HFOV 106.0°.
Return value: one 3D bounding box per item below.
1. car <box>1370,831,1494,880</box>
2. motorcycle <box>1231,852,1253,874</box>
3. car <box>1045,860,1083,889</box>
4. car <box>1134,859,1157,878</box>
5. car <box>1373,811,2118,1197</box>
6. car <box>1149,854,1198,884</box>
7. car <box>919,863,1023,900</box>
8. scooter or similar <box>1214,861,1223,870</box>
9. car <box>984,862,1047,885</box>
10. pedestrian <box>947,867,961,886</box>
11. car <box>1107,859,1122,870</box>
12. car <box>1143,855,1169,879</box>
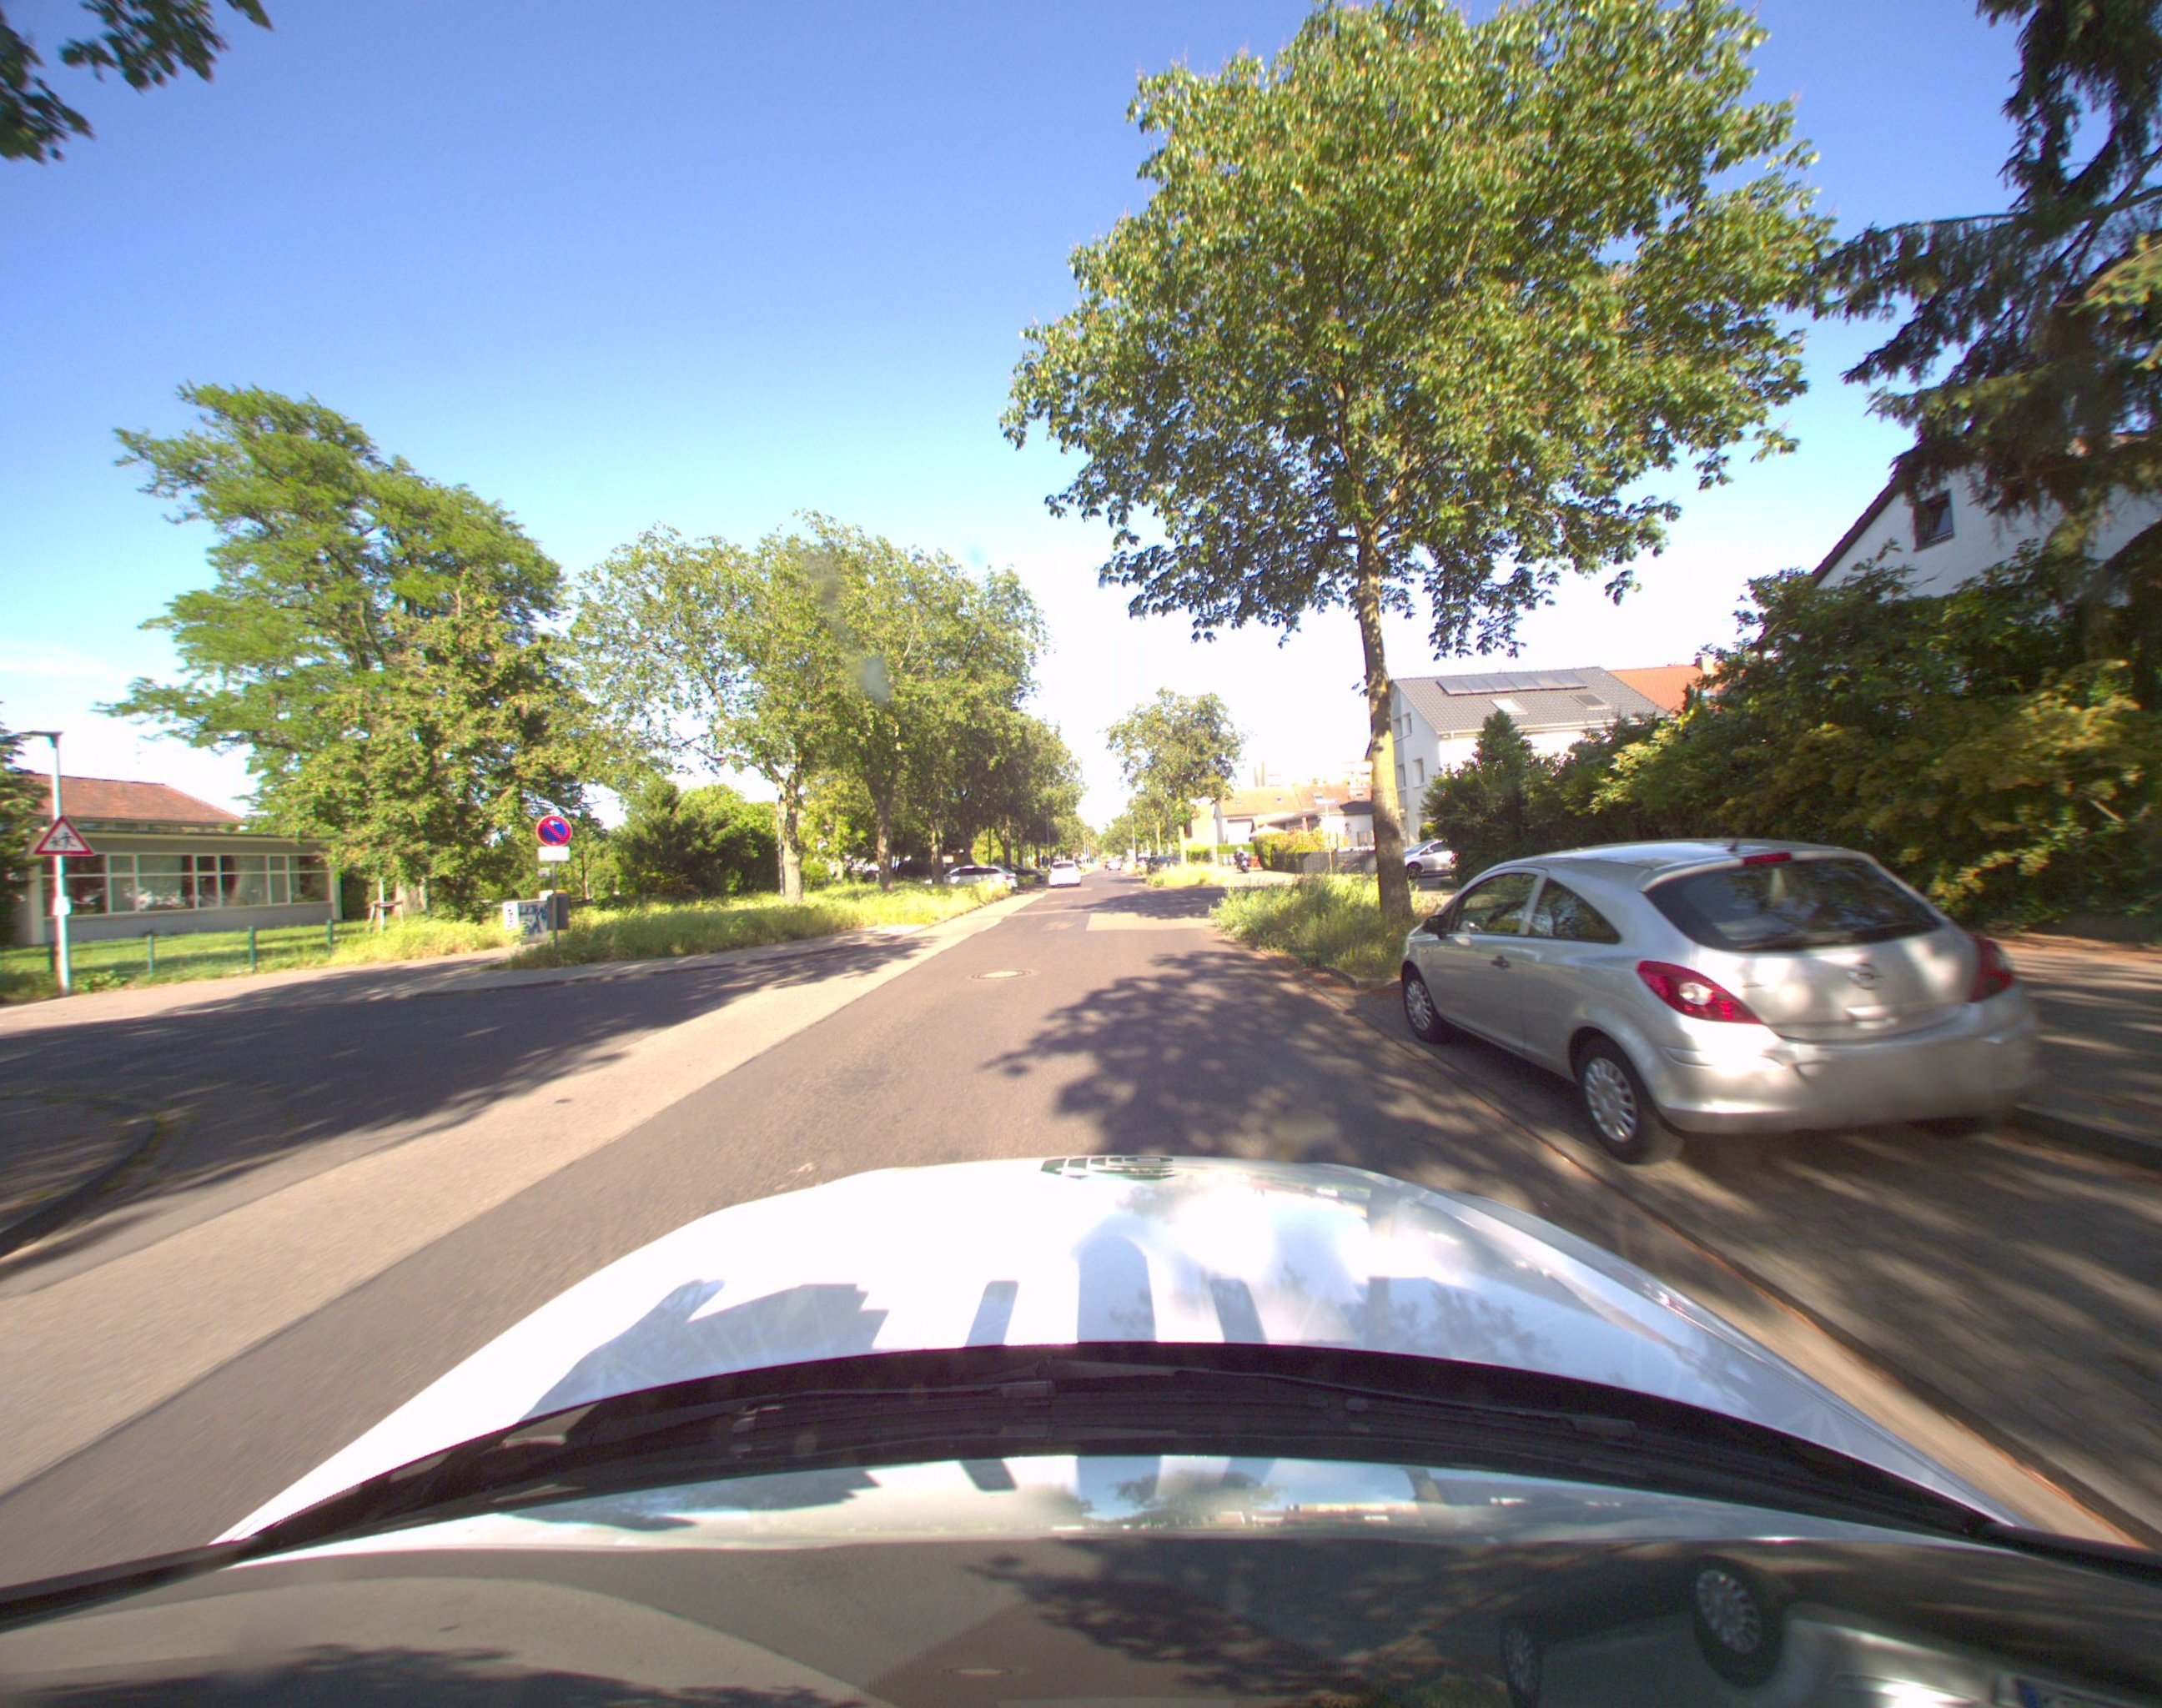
[{"bbox_3d":[13.492,0.055,31.455,3.980,1.640,1.773,-3,0,-5],"label":"car"},{"bbox_3d":[9.392,0.530,47.574,0.815,1.227,2.352,-4,0,2],"label":"motorcycle"},{"bbox_3d":[-0.908,1.149,46.834,1.987,1.455,4.224,-3,0,0],"label":"car"},{"bbox_3d":[6.639,1.550,84.262,1.987,1.728,3.999,-5,-2,0],"label":"car"},{"bbox_3d":[3.405,0.683,5.376,1.982,1.510,4.010,-4,-2,9],"label":"car"},{"bbox_3d":[5.109,0.821,45.645,1.990,1.622,4.375,0,-1,-4],"label":"car"},{"bbox_3d":[-5.312,1.317,39.701,4.652,1.503,2.002,-3,-1,3],"label":"car"},{"bbox_3d":[12.241,1.022,72.542,0.368,0.858,1.406,-2,-1,-11],"label":"scooter or similar"},{"bbox_3d":[-4.742,1.437,59.447,4.352,1.531,1.808,-2,-1,0],"label":"car"},{"bbox_3d":[-13.008,2.323,83.575,1.227,1.827,1.543,-1,-2,-15],"label":"pedestrian"},{"bbox_3d":[4.599,1.465,111.878,1.986,1.508,3.660,0,-1,2],"label":"car"},{"bbox_3d":[5.237,0.930,57.245,1.604,1.622,4.384,0,-1,2],"label":"car"}]
